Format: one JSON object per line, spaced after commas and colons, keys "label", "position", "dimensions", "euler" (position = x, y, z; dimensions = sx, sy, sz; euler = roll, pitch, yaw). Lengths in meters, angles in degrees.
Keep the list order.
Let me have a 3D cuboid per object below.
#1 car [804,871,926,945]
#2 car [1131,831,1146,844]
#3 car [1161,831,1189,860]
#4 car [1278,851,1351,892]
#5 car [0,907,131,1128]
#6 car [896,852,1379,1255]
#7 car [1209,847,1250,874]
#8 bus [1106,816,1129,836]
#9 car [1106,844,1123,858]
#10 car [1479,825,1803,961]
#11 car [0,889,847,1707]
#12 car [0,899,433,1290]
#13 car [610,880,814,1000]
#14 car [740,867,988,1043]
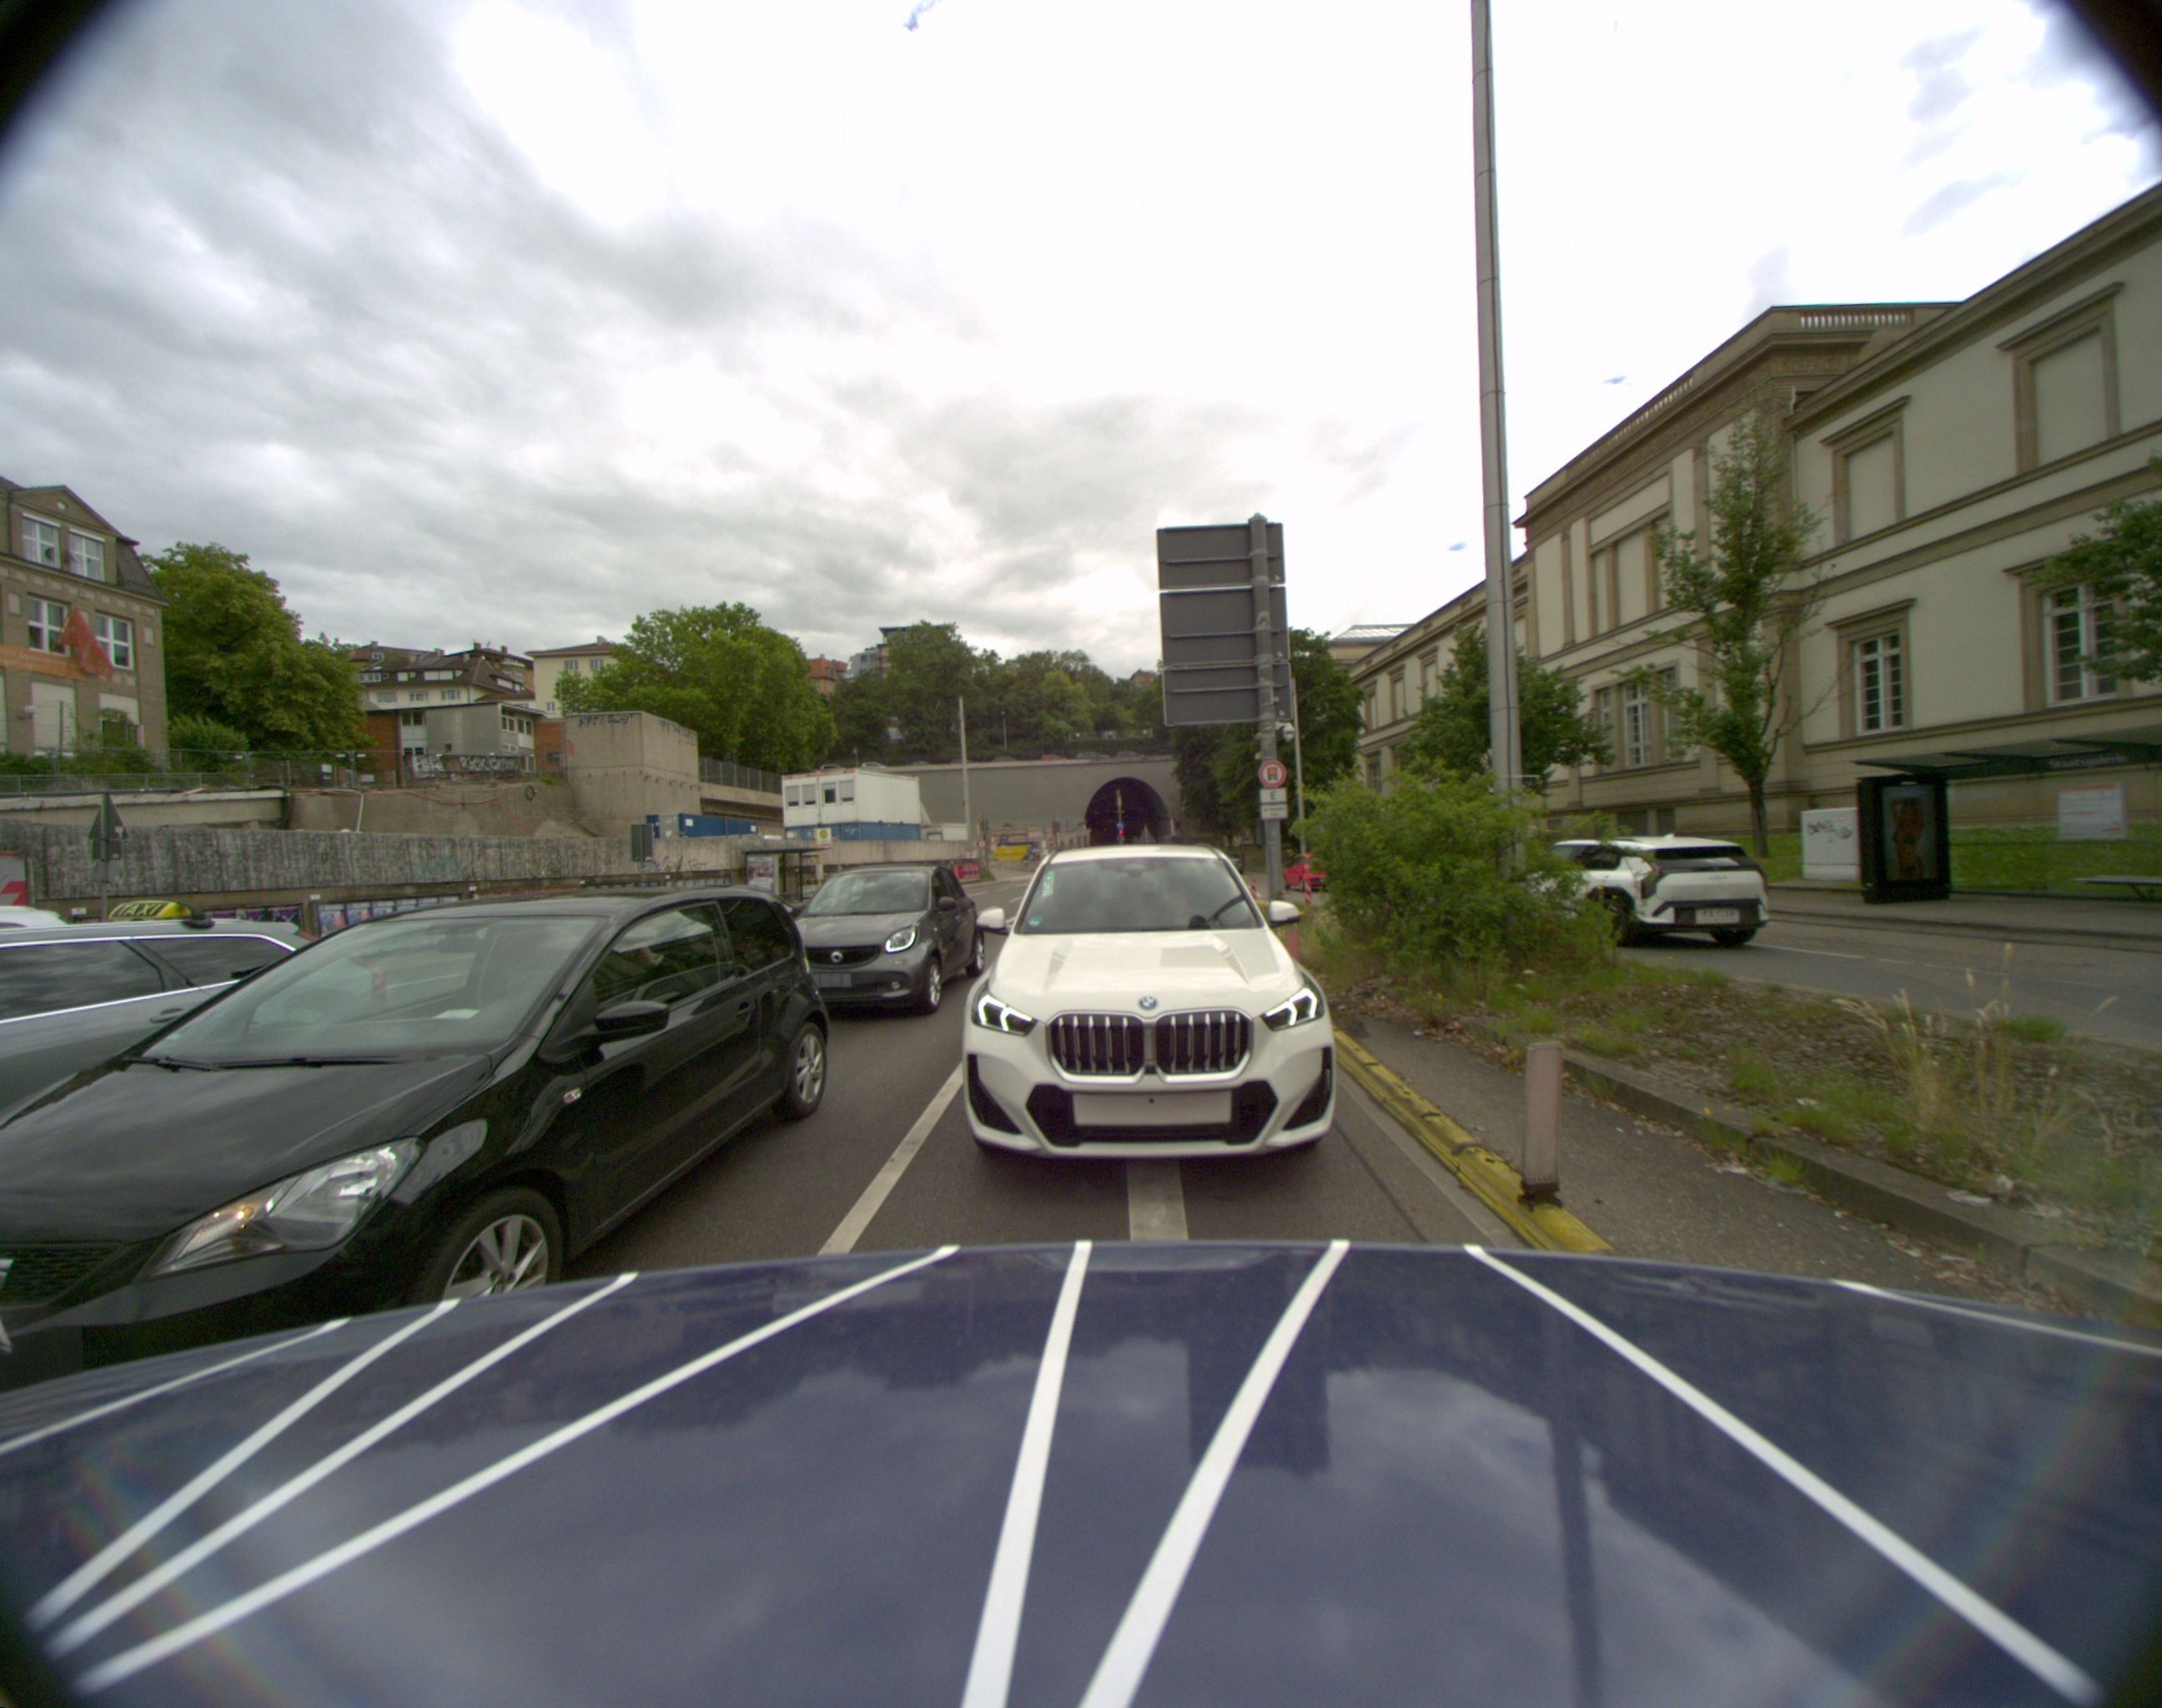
{"label": "car", "position": [-4.915, 1.166, 17.815], "dimensions": [1.680, 1.358, 3.806], "euler": [-2, 1, 1]}
{"label": "car", "position": [7.843, -2.219, 103.696], "dimensions": [1.946, 1.714, 4.000], "euler": [-2, 1, 4]}
{"label": "car", "position": [8.737, -0.813, 70.982], "dimensions": [2.203, 2.493, 4.758], "euler": [-2, 1, 2]}
{"label": "car", "position": [9.106, 0.644, 29.925], "dimensions": [1.646, 1.469, 3.574], "euler": [-2, 0, -2]}
{"label": "car", "position": [-9.104, 1.321, 4.447], "dimensions": [1.680, 1.615, 4.209], "euler": [-2, 1, 1]}
{"label": "car", "position": [0.266, 0.847, 5.053], "dimensions": [1.987, 1.615, 3.670], "euler": [-2, 1, 1]}
{"label": "car", "position": [9.563, 0.403, 49.136], "dimensions": [1.778, 1.609, 3.802], "euler": [-2, 1, -1]}
{"label": "bus", "position": [6.467, -4.941, 135.935], "dimensions": [3.171, 3.129, 9.118], "euler": [-2, 1, -1]}
{"label": "car", "position": [3.497, -0.336, 79.893], "dimensions": [1.680, 1.450, 3.807], "euler": [-2, 1, 3]}
{"label": "car", "position": [8.316, 0.484, 11.896], "dimensions": [1.875, 1.681, 4.267], "euler": [-2, 1, 0]}
{"label": "car", "position": [-2.569, 1.018, 3.345], "dimensions": [1.829, 1.450, 3.700], "euler": [-2, 1, 1]}
{"label": "car", "position": [-5.854, 1.208, 3.306], "dimensions": [1.829, 1.615, 4.808], "euler": [-2, 1, 1]}
{"label": "car", "position": [-5.391, 1.193, 11.468], "dimensions": [1.665, 1.423, 2.714], "euler": [-2, 1, 1]}
{"label": "car", "position": [-2.251, 0.981, 8.894], "dimensions": [1.720, 1.535, 3.575], "euler": [-2, 0, 2]}
